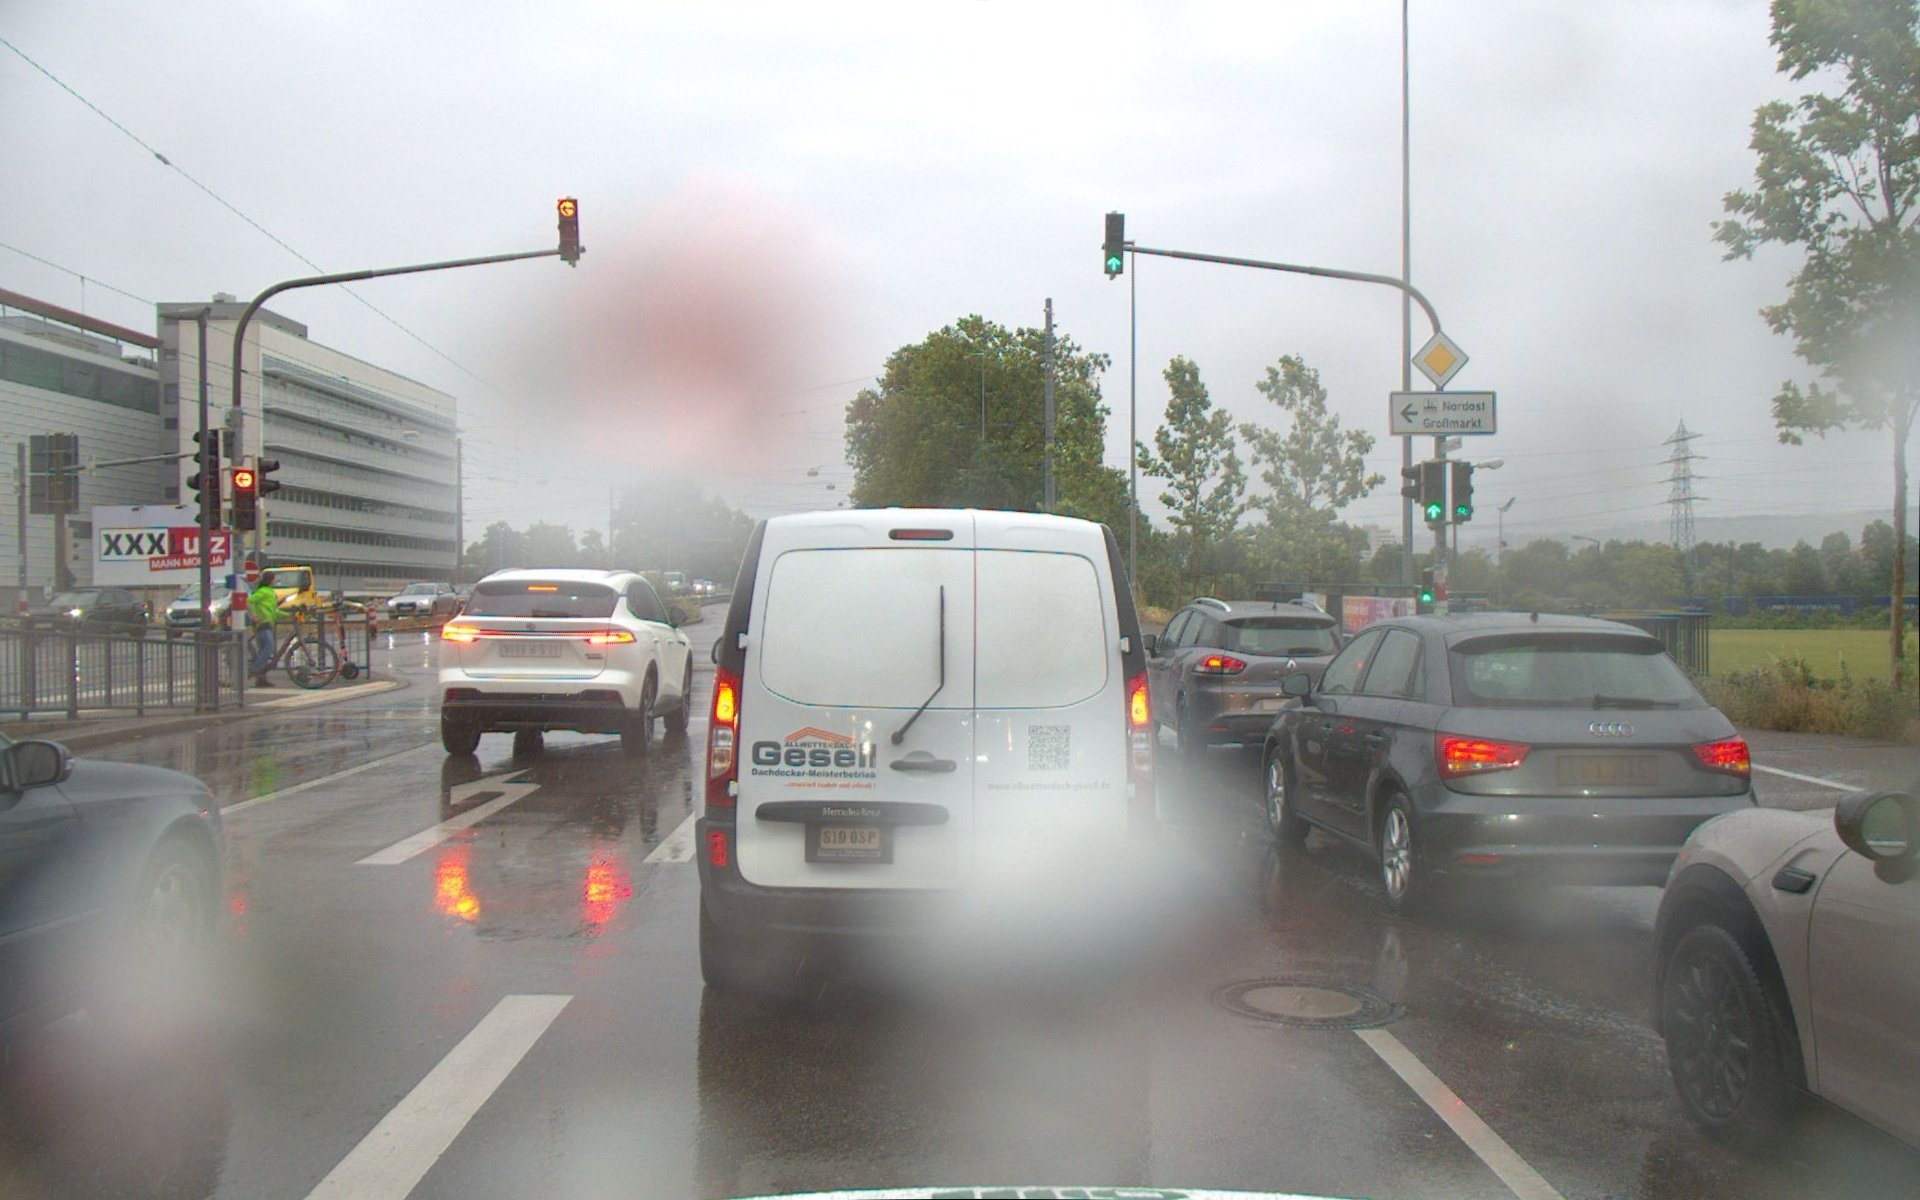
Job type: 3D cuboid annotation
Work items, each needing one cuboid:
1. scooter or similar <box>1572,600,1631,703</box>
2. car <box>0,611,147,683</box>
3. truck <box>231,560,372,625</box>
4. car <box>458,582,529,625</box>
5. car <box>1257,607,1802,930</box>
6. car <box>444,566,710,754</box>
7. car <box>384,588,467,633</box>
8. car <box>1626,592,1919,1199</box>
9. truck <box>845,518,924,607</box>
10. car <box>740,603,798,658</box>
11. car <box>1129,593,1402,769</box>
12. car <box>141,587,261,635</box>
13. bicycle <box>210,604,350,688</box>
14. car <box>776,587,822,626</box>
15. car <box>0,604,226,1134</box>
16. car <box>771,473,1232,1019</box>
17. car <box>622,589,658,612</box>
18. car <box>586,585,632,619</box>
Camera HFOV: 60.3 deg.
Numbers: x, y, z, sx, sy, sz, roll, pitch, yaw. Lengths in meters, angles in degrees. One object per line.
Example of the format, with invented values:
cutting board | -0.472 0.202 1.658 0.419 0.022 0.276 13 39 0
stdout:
scooter or similar | 7.613 0.599 19.667 0.240 1.178 1.186 1 0 1
car | -25.527 1.326 47.790 1.952 1.937 4.001 1 -1 2
truck | -25.010 -0.249 63.239 2.303 2.319 7.632 1 0 0
car | -21.346 0.164 75.812 1.889 1.859 4.002 1 0 4
car | 2.793 0.736 8.957 1.596 1.368 3.622 1 0 -2
car | -3.559 0.486 16.109 1.694 1.562 4.296 1 1 -2
car | -21.768 0.426 67.494 1.853 1.729 4.001 1 0 3
car | 2.920 0.766 3.225 1.679 1.534 3.622 1 0 -2
truck | -2.695 -1.216 57.934 2.580 2.865 7.140 1 0 -4
car | -6.852 1.061 59.267 1.956 1.892 3.994 1 0 -7
car | 2.817 0.689 16.083 1.822 1.453 3.806 1 1 -2
car | -22.442 0.333 49.048 1.554 1.359 3.832 1 -1 4
bicycle | -9.603 0.646 23.382 1.716 1.052 0.414 4 -1 -3
car | -8.119 0.364 83.625 1.953 1.892 3.999 1 -1 -1
car | -3.390 0.700 3.524 1.727 1.423 4.642 1 -1 -3
car | 0.117 0.494 7.544 1.534 1.819 3.999 0 0 -1
car | -22.433 0.033 116.129 1.727 1.577 3.680 1 0 1
car | -21.926 0.120 103.563 1.952 2.049 4.000 1 0 1
